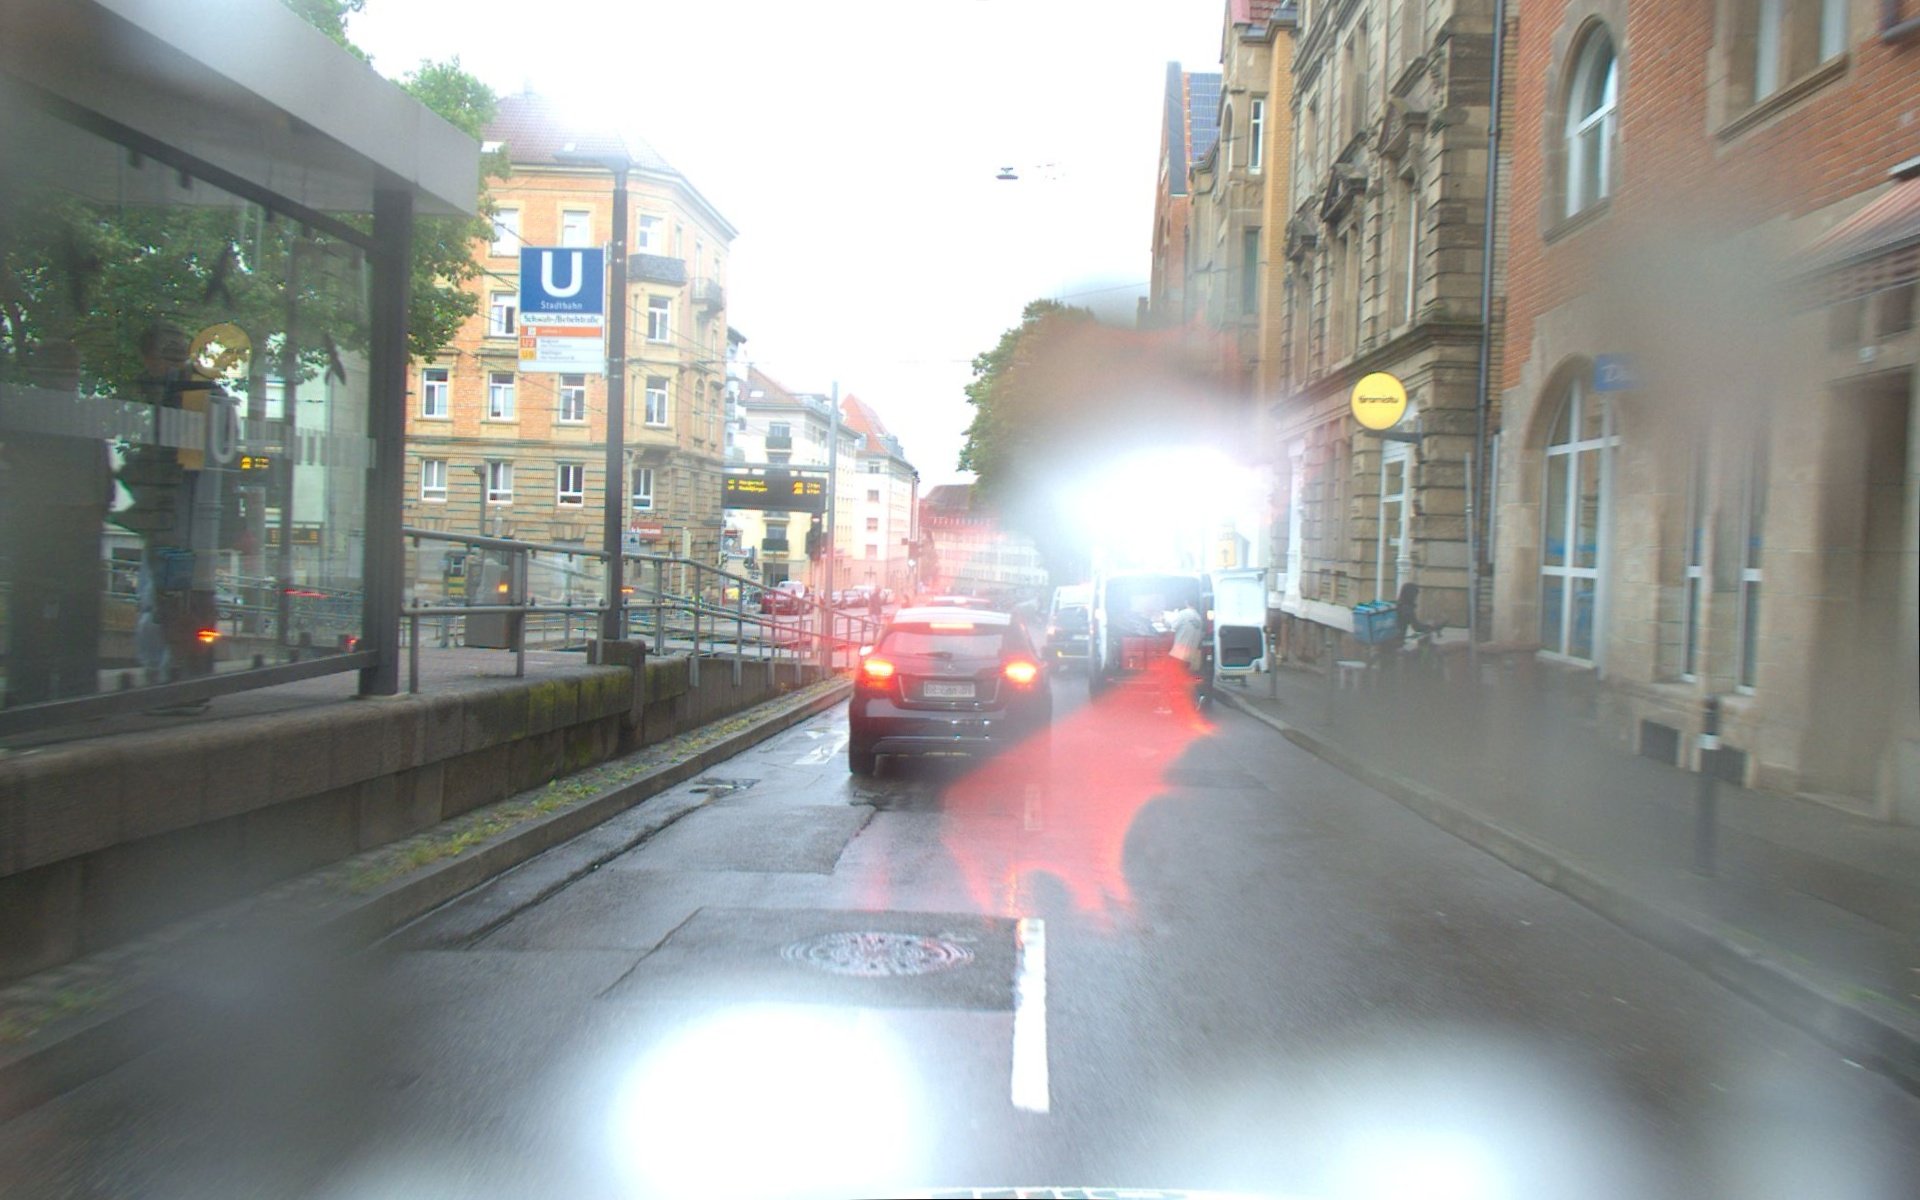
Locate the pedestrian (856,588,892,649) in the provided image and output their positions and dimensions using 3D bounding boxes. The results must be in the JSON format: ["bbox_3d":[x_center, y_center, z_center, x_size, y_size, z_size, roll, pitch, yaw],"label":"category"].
[{"bbox_3d":[-2.504,0.541,48.254,0.734,1.754,0.730,2,0,-41],"label":"pedestrian"}]

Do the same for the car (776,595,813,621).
[{"bbox_3d":[-10.395,0.487,104.235,1.749,1.557,4.463,2,0,1],"label":"car"}]

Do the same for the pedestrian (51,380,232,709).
[{"bbox_3d":[-4.157,-0.276,8.424,0.600,1.609,0.507,2,0,6],"label":"pedestrian"}]

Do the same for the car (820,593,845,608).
[{"bbox_3d":[-9.487,0.036,122.939,1.407,1.126,3.163,2,0,3],"label":"car"}]

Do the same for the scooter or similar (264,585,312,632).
[{"bbox_3d":[-17.893,0.231,44.041,0.355,1.216,1.105,1,0,41],"label":"scooter or similar"}]

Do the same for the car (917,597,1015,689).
[{"bbox_3d":[0.132,0.731,29.914,1.645,1.515,3.613,1,0,1],"label":"car"}]

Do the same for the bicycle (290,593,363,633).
[{"bbox_3d":[-18.005,0.374,47.021,1.836,1.080,0.517,2,0,-9],"label":"bicycle"}]

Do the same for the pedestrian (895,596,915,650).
[{"bbox_3d":[-1.598,0.668,47.972,0.521,1.557,0.436,2,0,-5],"label":"pedestrian"}]

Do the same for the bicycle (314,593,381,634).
[{"bbox_3d":[-18.156,0.391,49.054,1.734,1.162,0.517,2,0,-9],"label":"bicycle"}]

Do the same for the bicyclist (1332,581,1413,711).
[{"bbox_3d":[5.445,0.605,21.859,0.835,1.686,0.628,1,-1,-20],"label":"bicyclist"}]

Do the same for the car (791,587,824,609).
[{"bbox_3d":[-10.183,-0.107,110.384,1.645,1.379,3.704,2,0,3],"label":"car"}]

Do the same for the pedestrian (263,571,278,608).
[{"bbox_3d":[-30.922,-0.478,74.179,0.512,1.650,0.480,2,0,-37],"label":"pedestrian"}]

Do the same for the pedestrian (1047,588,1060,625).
[{"bbox_3d":[4.345,0.297,76.864,0.507,1.695,0.477,3,0,6],"label":"pedestrian"}]

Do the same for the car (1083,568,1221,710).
[{"bbox_3d":[2.925,0.567,26.087,1.880,1.969,4.687,2,0,4],"label":"car"}]

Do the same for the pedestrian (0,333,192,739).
[{"bbox_3d":[-3.642,-0.260,6.870,0.600,1.609,0.507,2,0,6],"label":"pedestrian"}]

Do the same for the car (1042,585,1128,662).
[{"bbox_3d":[3.226,0.584,43.468,1.893,1.863,4.281,2,0,0],"label":"car"}]

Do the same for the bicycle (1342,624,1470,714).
[{"bbox_3d":[5.791,0.886,21.477,1.659,1.135,0.462,1,-1,-21],"label":"bicycle"}]

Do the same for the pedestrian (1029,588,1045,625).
[{"bbox_3d":[3.547,0.297,76.113,0.664,1.690,0.677,1,0,9],"label":"pedestrian"}]

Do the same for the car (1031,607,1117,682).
[{"bbox_3d":[2.566,0.927,36.384,1.677,1.494,4.284,2,0,6],"label":"car"}]

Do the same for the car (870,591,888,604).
[{"bbox_3d":[-8.000,-0.222,163.179,1.366,1.191,3.163,2,0,3],"label":"car"}]

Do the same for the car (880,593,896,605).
[{"bbox_3d":[-7.599,-0.121,175.742,1.366,1.191,3.163,2,0,3],"label":"car"}]

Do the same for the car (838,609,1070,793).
[{"bbox_3d":[0.076,0.829,15.447,1.855,1.414,4.002,2,0,4],"label":"car"}]

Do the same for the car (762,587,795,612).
[{"bbox_3d":[-10.692,-0.040,97.335,1.422,1.341,3.296,3,0,2],"label":"car"}]

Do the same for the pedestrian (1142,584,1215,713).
[{"bbox_3d":[3.073,0.671,23.327,0.676,1.784,0.829,1,0,-25],"label":"pedestrian"}]

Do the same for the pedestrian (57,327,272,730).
[{"bbox_3d":[-3.548,-0.312,7.415,0.600,1.717,0.587,2,0,6],"label":"pedestrian"}]

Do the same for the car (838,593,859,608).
[{"bbox_3d":[-9.208,0.061,136.486,1.366,1.191,3.163,2,0,3],"label":"car"}]

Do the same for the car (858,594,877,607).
[{"bbox_3d":[-8.587,0.032,153.953,1.366,1.191,3.163,2,0,3],"label":"car"}]

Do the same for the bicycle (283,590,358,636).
[{"bbox_3d":[-17.783,0.350,46.028,1.836,1.216,0.517,2,0,-9],"label":"bicycle"}]
